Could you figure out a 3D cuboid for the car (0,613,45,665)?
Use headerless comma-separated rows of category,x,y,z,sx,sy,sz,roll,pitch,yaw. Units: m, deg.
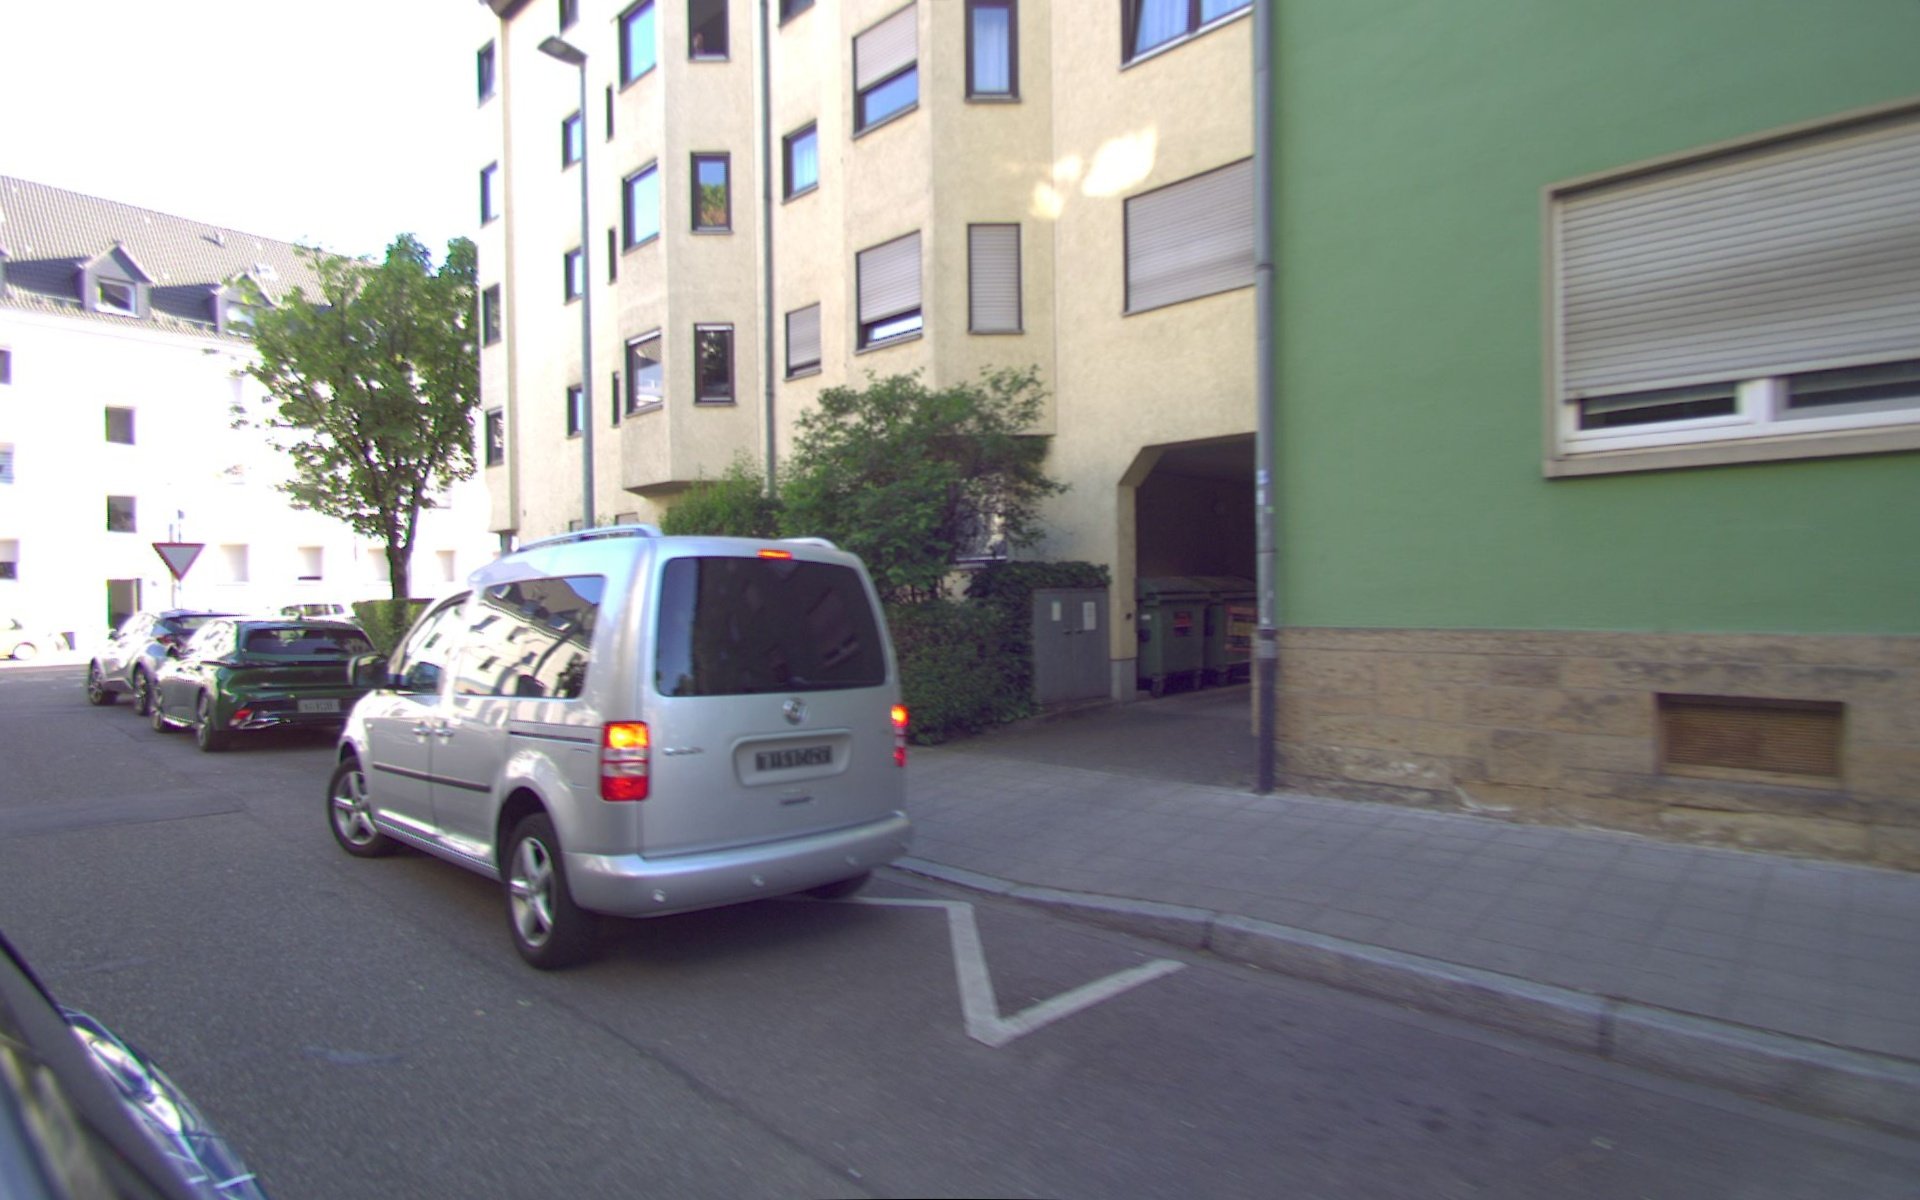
car,-28.866,1.158,29.070,1.551,1.459,3.571,0,1,35

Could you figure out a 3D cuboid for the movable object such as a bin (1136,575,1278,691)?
movable object such as a bin,3.302,0.412,13.530,1.343,1.442,1.328,-1,0,44

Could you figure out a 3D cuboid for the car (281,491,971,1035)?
car,-2.154,0.584,5.636,4.416,1.857,1.751,0,-2,43

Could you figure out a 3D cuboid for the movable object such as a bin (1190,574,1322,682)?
movable object such as a bin,4.252,0.374,14.540,1.343,1.442,1.328,-1,0,44

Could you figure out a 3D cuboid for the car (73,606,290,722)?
car,-12.120,0.911,15.676,4.068,1.567,1.702,-1,-2,38

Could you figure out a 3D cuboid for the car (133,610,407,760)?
car,-8.262,0.895,11.964,4.207,1.464,1.747,-1,-3,43

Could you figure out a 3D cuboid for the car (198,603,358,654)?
car,-24.066,0.958,35.859,1.995,1.569,4.236,-1,1,34

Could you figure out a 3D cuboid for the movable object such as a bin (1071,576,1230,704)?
movable object such as a bin,2.346,0.451,12.444,1.343,1.442,1.456,-1,0,43
